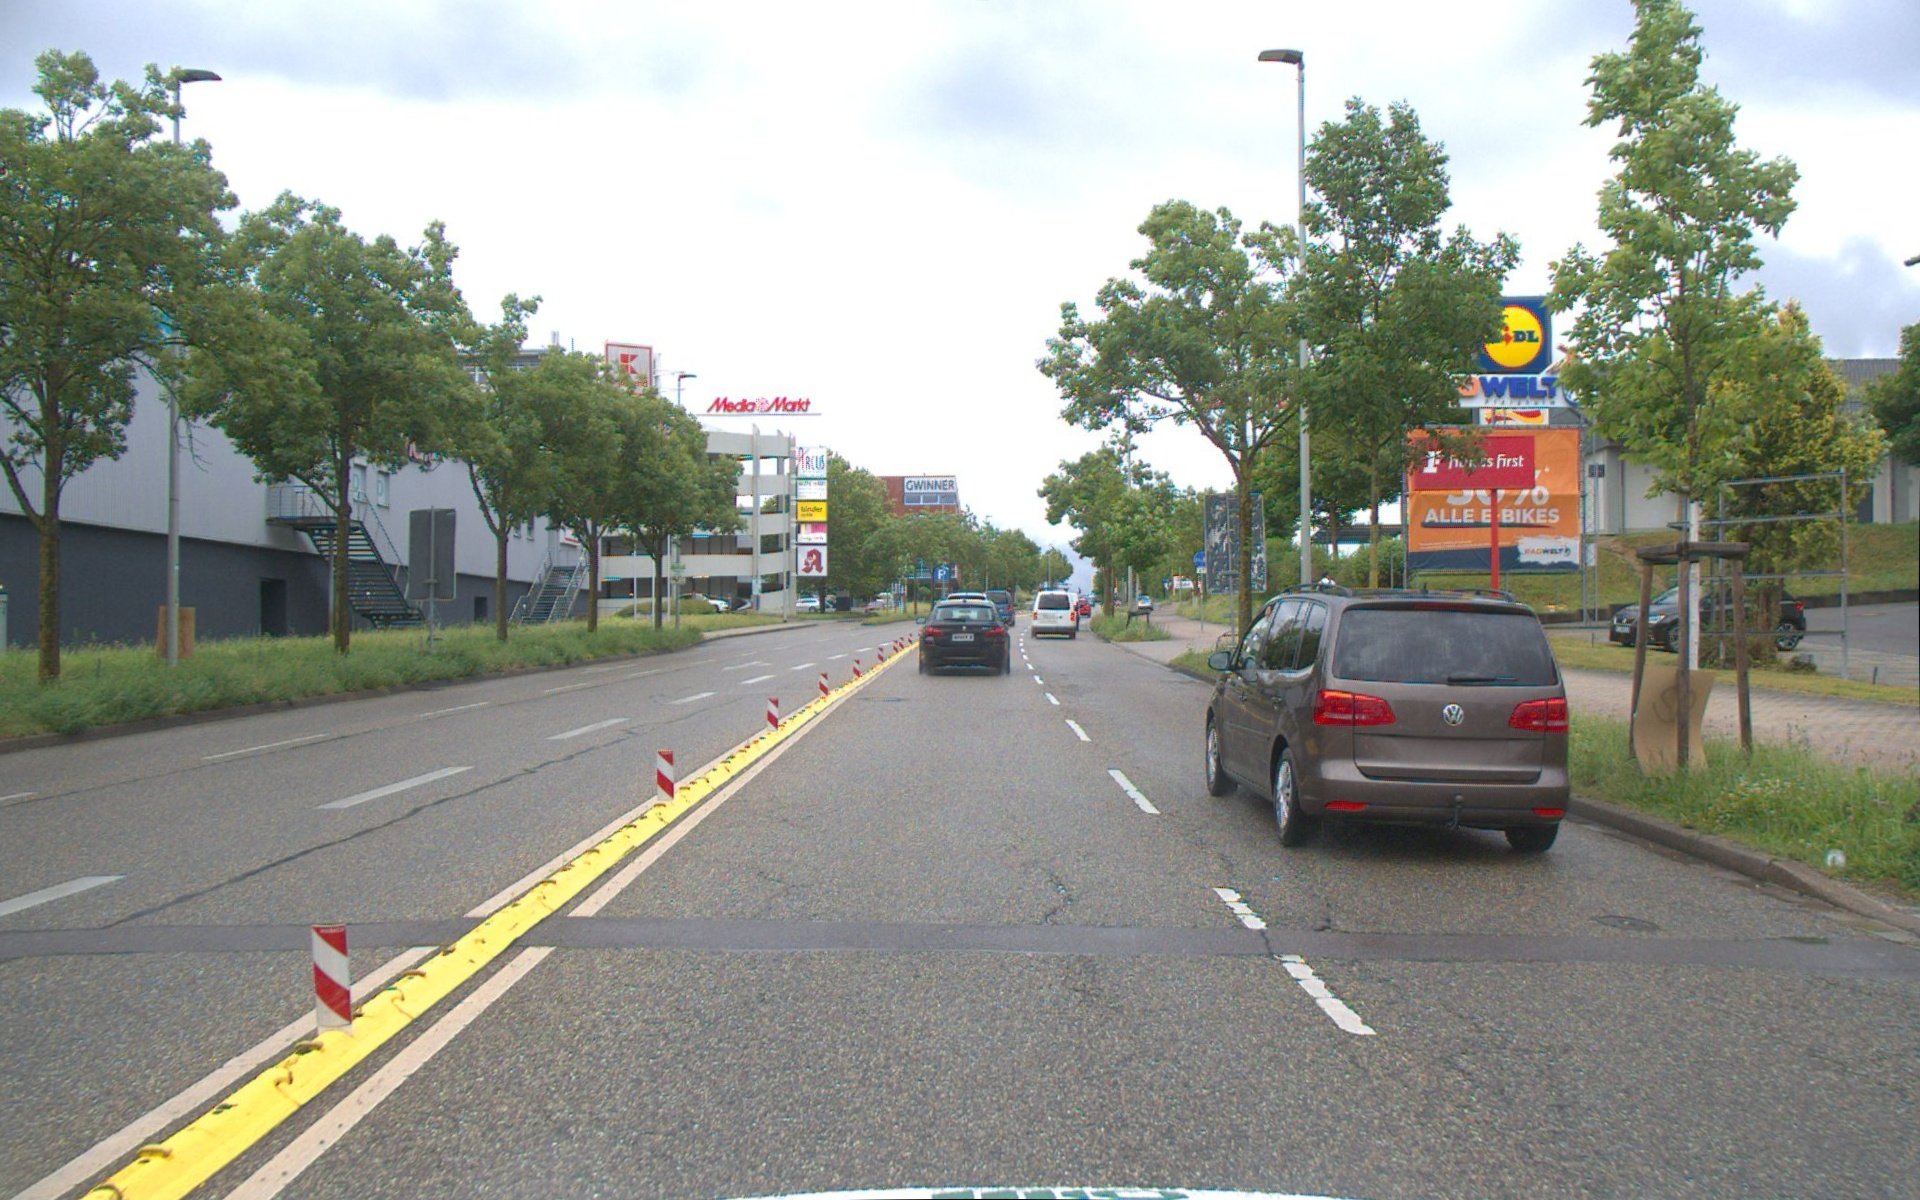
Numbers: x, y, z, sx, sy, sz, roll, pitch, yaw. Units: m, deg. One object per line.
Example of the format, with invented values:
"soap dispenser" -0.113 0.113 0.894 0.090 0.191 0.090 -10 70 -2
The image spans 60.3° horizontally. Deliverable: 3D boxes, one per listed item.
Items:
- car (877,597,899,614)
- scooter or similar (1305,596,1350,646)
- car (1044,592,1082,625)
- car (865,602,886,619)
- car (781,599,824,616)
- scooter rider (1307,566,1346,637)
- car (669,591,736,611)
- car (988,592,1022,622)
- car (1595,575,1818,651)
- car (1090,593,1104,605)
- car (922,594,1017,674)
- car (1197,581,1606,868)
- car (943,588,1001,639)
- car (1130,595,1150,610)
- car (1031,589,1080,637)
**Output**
"car" -8.222 0.667 189.762 1.996 1.792 4.948 1 1 3
"scooter or similar" 9.949 0.584 44.814 0.682 1.286 1.398 -2 -2 -8
"car" 5.077 0.426 81.529 1.757 1.537 4.001 2 -1 2
"car" -8.929 1.098 175.337 1.893 1.637 4.713 1 1 1
"car" -17.209 0.804 180.656 4.506 1.776 1.967 1 1 -2
"scooter rider" 9.925 0.051 44.867 0.682 1.852 0.856 -2 -2 -9
"car" -18.506 0.078 118.900 4.316 1.433 1.907 0 0 15
"car" 2.399 0.370 89.043 1.757 1.537 4.000 2 -1 1
"car" 15.607 0.236 34.648 4.020 1.463 1.791 -1 2 -13
"car" 19.183 -0.134 231.360 1.757 1.537 4.001 2 -1 2
"car" 0.183 0.648 33.694 1.790 1.494 4.000 1 0 0
"car" 2.836 0.713 11.591 1.651 1.609 4.217 1 0 -1
"car" 0.398 0.434 53.094 1.757 1.537 4.000 2 -1 1
"car" 18.312 0.265 168.423 1.757 1.537 4.001 2 -1 3
"car" 3.697 0.477 64.657 1.789 1.790 4.001 1 0 2
